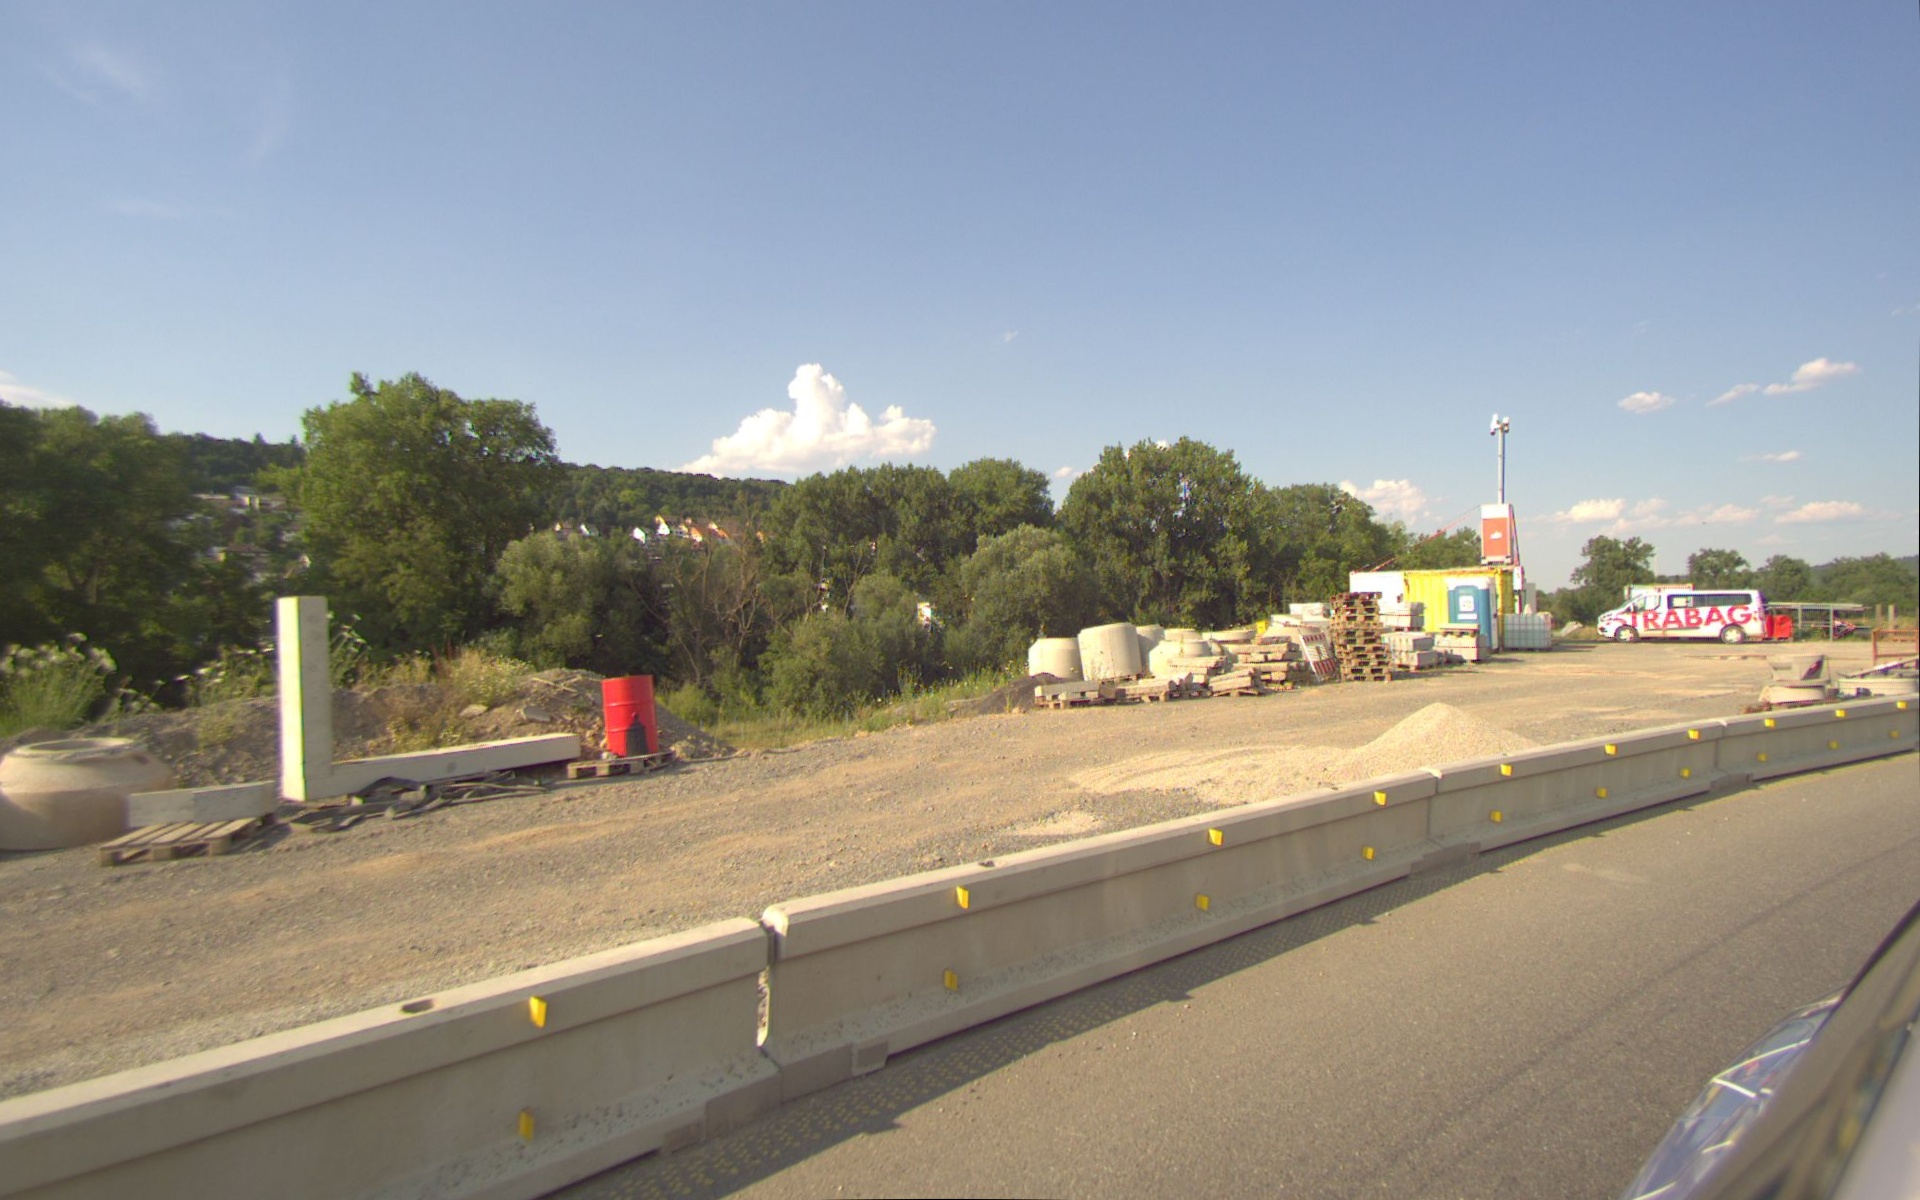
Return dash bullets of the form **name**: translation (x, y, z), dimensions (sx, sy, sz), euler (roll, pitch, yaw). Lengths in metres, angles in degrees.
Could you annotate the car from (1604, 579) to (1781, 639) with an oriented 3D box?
- **car**: translation (27.807, 0.364, 38.691), dimensions (5.283, 2.105, 2.457), euler (-2, -1, 35)
